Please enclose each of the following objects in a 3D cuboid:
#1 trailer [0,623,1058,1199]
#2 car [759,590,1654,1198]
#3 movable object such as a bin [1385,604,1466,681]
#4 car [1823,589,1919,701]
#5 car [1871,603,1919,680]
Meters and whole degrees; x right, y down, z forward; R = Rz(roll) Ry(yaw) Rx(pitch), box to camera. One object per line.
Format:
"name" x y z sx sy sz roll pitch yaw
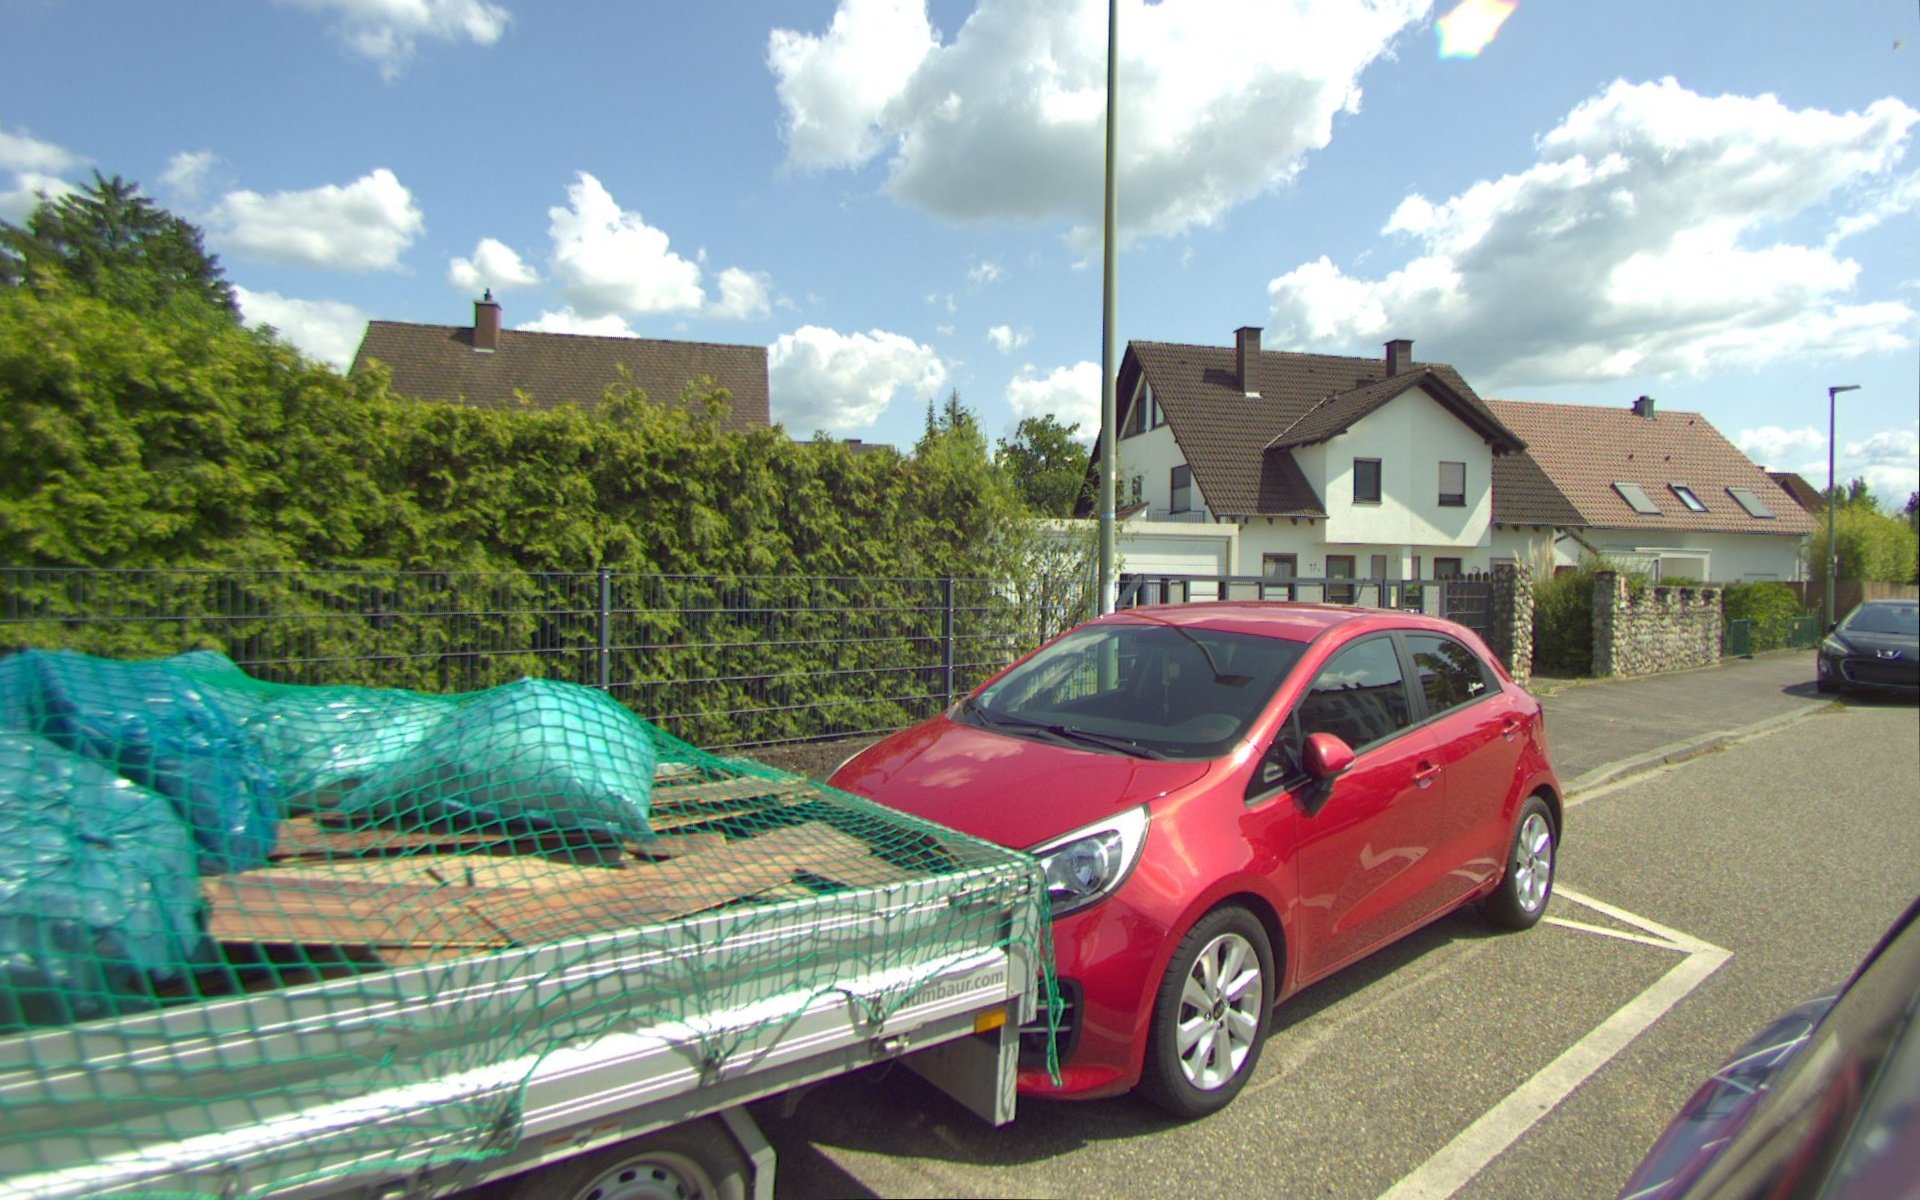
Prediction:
"trailer" -1.947 0.801 1.565 4.354 1.395 1.611 0 1 -40
"car" 1.548 0.695 4.673 4.674 1.481 1.694 0 1 -42
"movable object such as a bin" 6.791 0.605 14.782 0.751 1.071 0.779 0 0 -23
"car" 15.110 0.649 15.932 4.050 1.570 1.747 0 2 -42
"car" 18.718 0.757 19.090 3.892 1.334 1.714 0 1 -39
